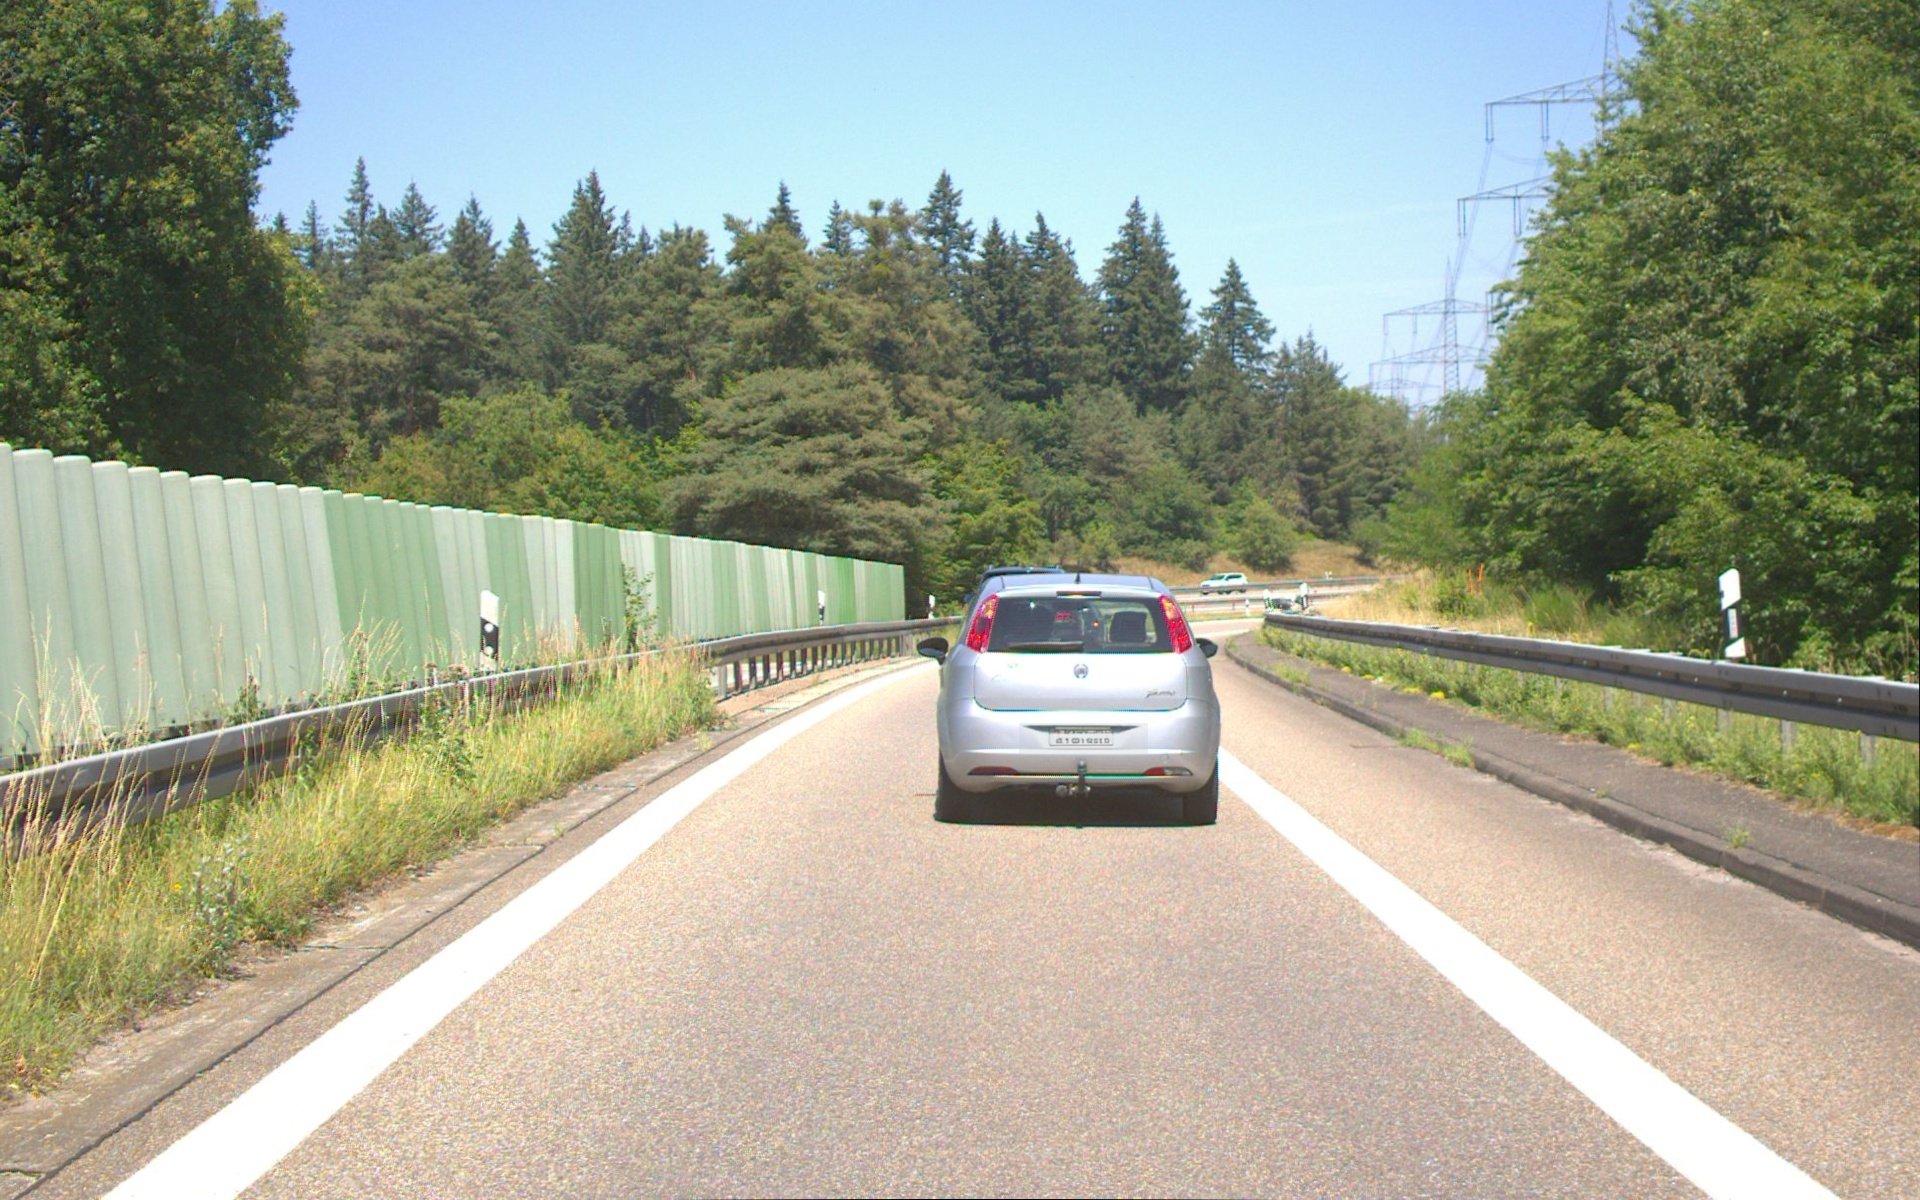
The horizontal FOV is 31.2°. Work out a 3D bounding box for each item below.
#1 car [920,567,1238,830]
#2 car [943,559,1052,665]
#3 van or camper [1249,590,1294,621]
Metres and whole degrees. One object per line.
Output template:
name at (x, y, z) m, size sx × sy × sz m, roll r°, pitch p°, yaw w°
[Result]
car at (0.813, 0.541, 21.300) m, size 1.707 × 1.477 × 3.397 m, roll 0°, pitch 1°, yaw 7°
car at (0.634, 0.173, 56.255) m, size 1.706 × 1.670 × 3.397 m, roll 0°, pitch 1°, yaw 2°
van or camper at (15.903, 0.283, 175.438) m, size 1.808 × 1.481 × 3.998 m, roll 0°, pitch 1°, yaw 12°
